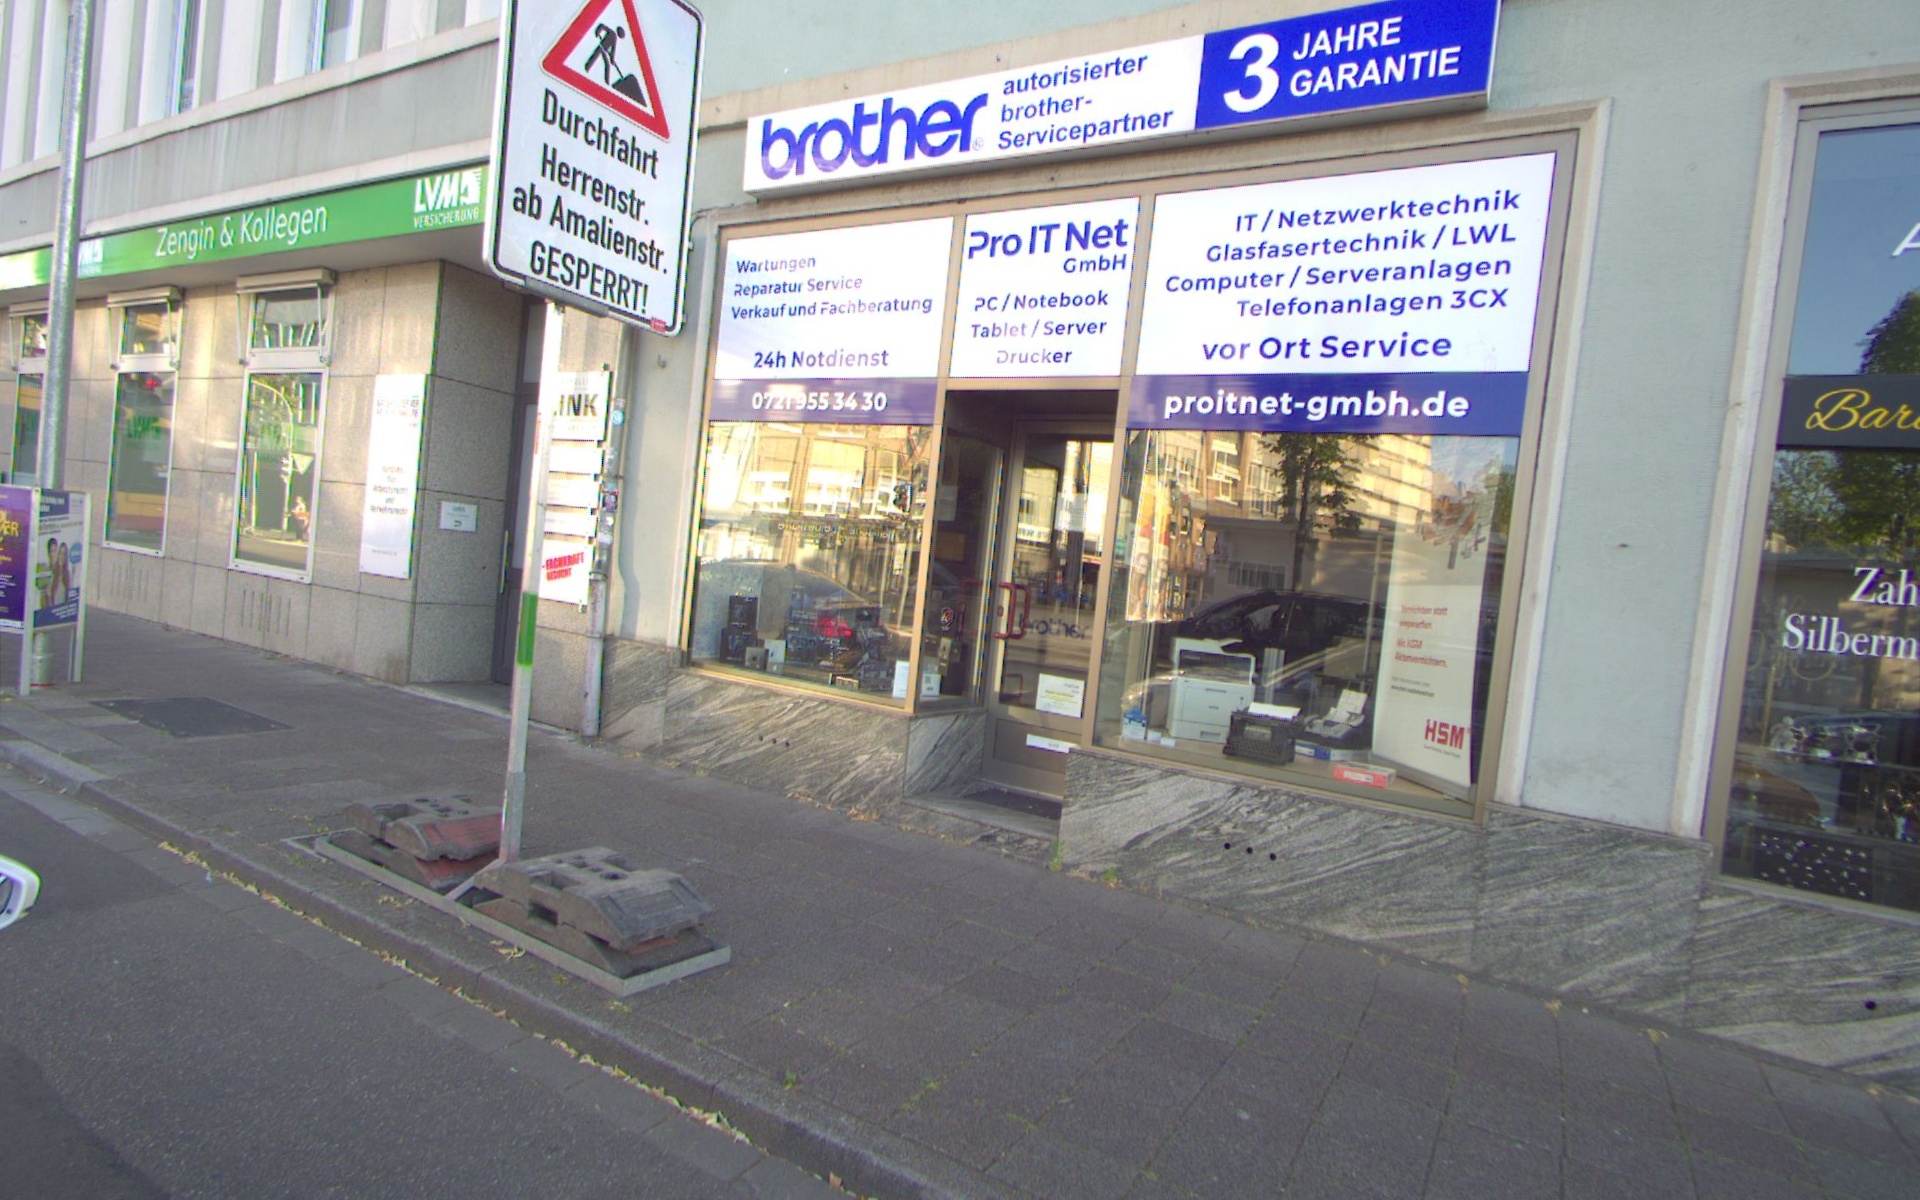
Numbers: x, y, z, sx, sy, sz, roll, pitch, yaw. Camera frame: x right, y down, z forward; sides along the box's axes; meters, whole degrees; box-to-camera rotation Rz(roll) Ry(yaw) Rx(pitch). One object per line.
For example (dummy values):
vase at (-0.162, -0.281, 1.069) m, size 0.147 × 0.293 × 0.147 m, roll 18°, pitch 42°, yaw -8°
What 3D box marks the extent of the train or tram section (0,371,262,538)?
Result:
train or tram section at (-26.139, -4.170, 29.813) m, size 3.024 × 3.861 × 10.452 m, roll 6°, pitch 1°, yaw 2°
